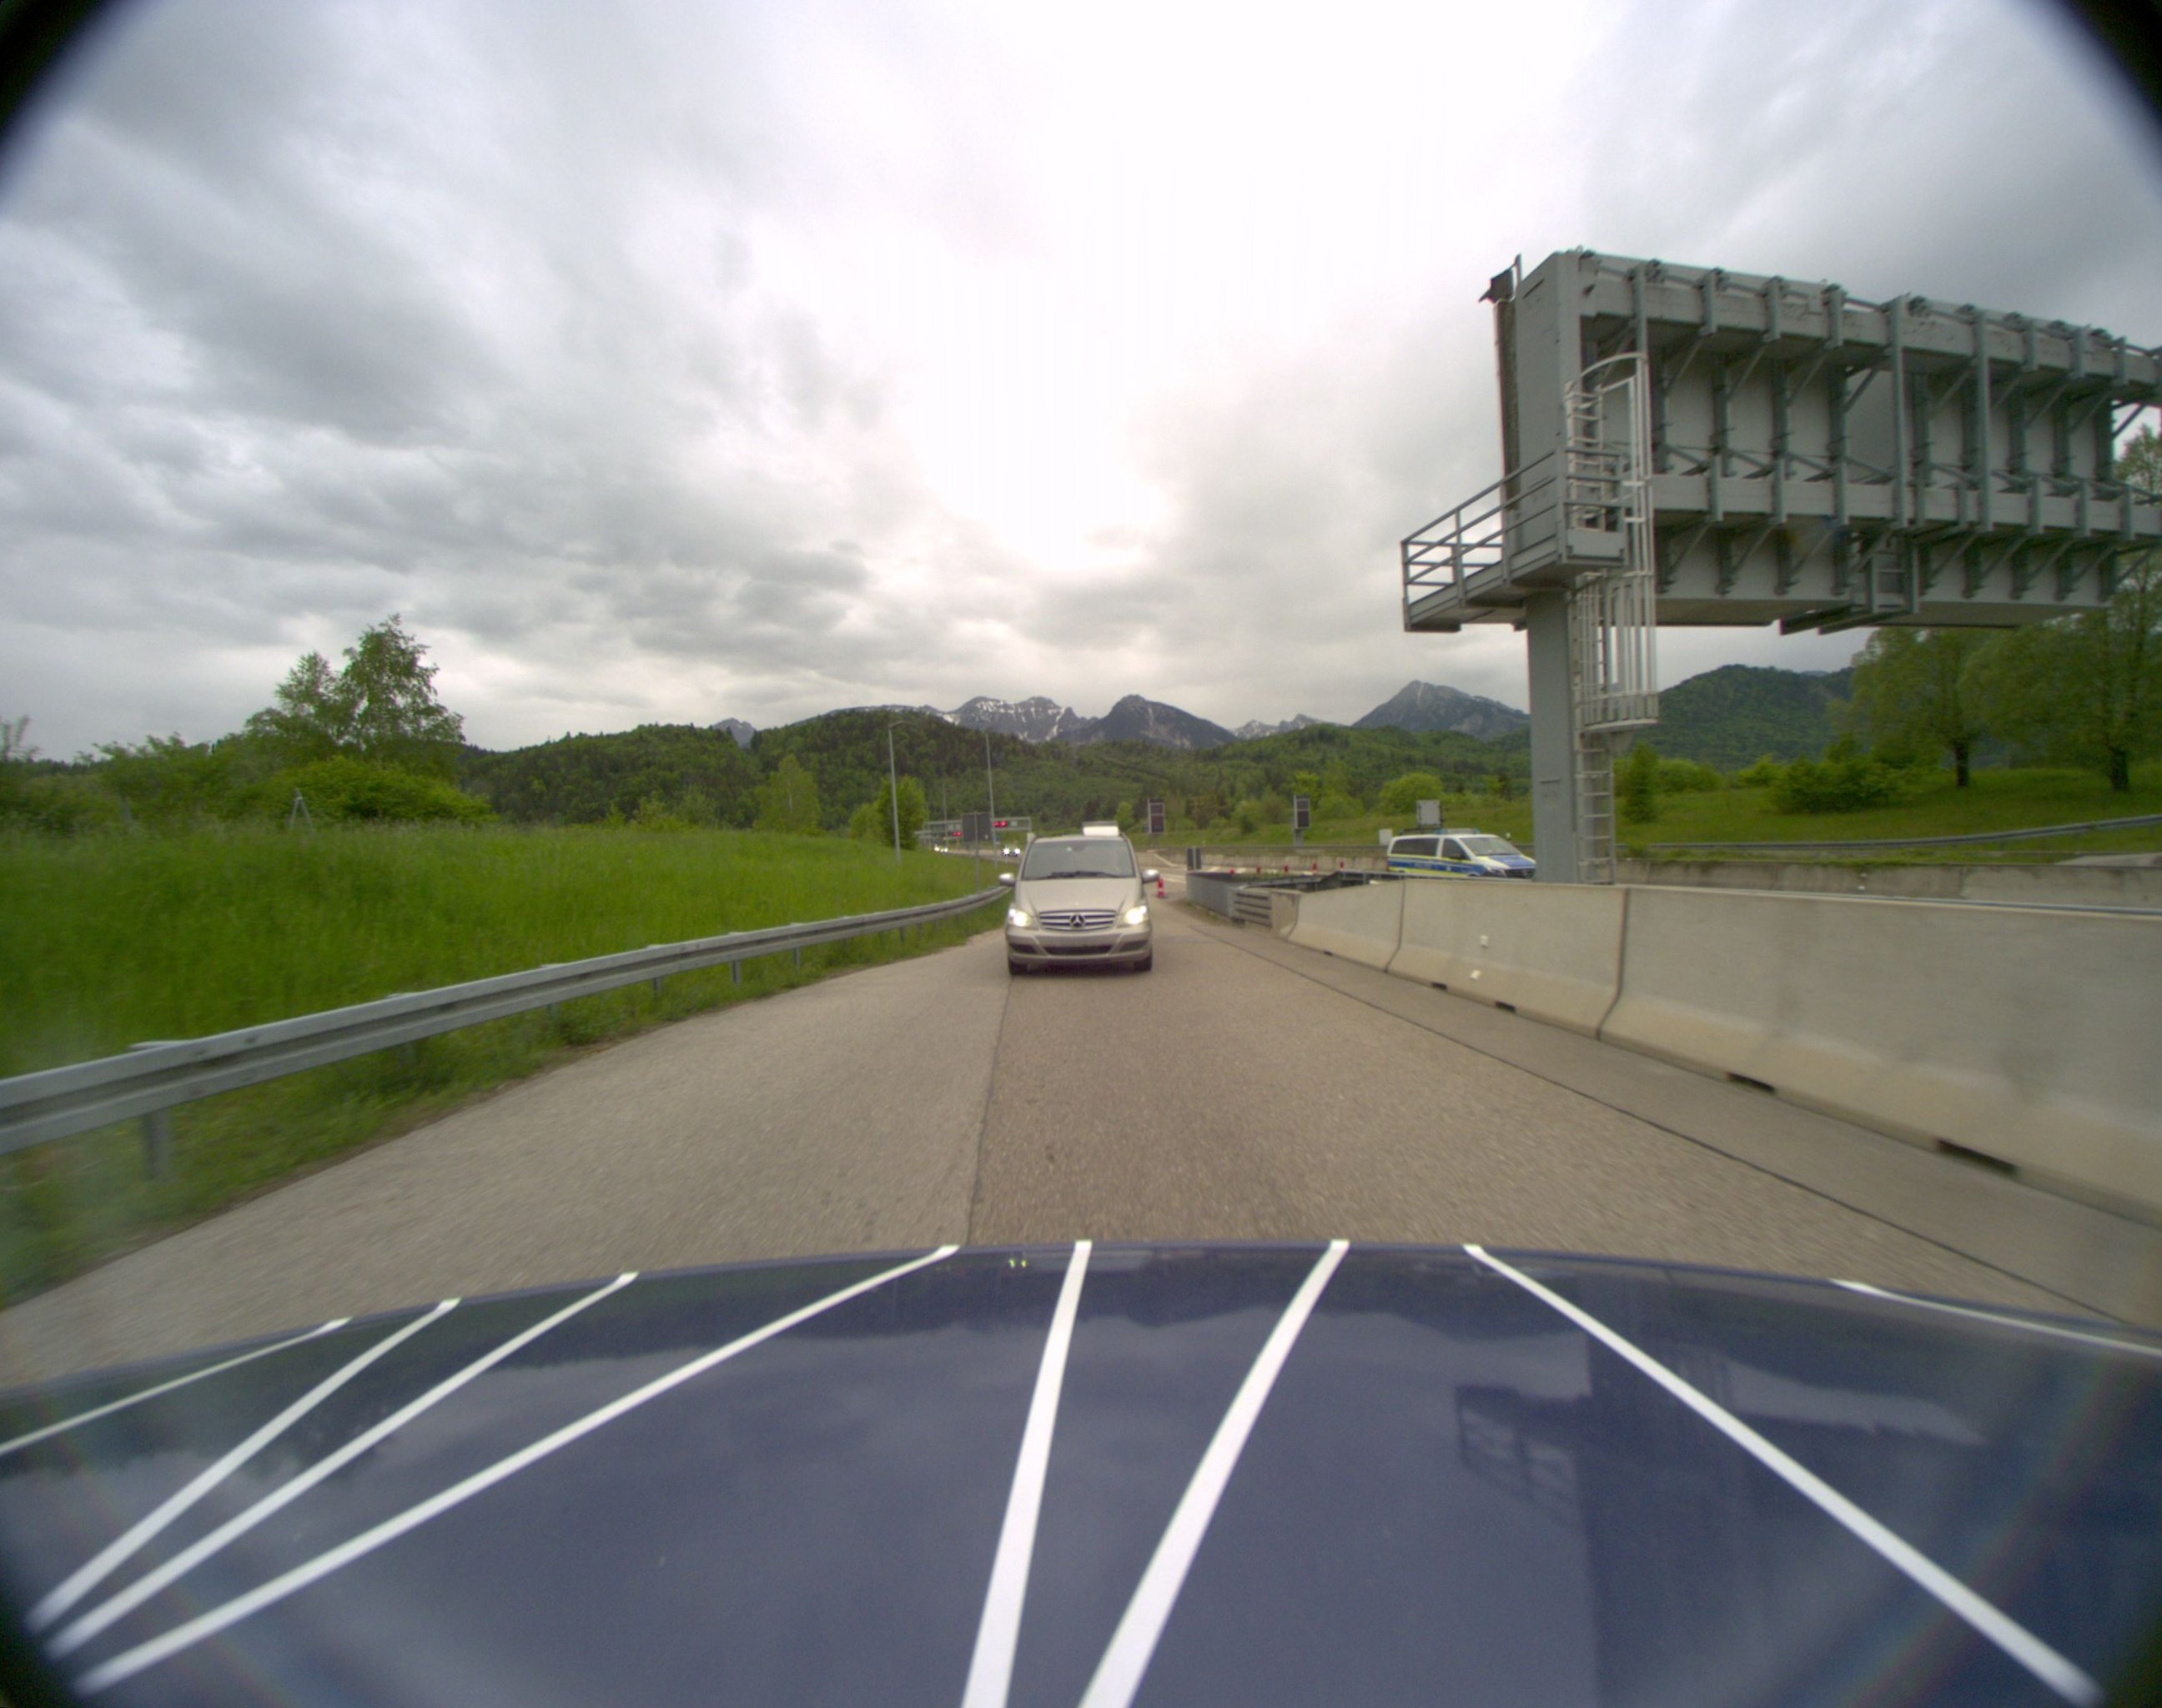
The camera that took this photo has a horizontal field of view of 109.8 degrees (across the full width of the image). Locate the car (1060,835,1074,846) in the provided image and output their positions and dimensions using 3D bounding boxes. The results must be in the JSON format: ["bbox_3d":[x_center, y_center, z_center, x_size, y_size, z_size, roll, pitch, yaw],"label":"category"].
[{"bbox_3d":[-2.639,-2.445,142.136,1.740,1.935,4.168,-2,1,-15],"label":"car"}]

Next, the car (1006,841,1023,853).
[{"bbox_3d":[-9.728,-1.062,110.583,1.722,1.629,4.342,-1,1,-14],"label":"car"}]

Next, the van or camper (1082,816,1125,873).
[{"bbox_3d":[1.448,-0.633,49.745,2.582,3.372,7.355,-1,1,1],"label":"van or camper"}]

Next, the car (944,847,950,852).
[{"bbox_3d":[-45.098,-1.499,256.427,1.738,1.647,3.995,-2,1,-12],"label":"car"}]

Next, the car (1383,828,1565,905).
[{"bbox_3d":[11.520,0.296,22.792,2.106,2.002,5.046,-1,1,-12],"label":"car"}]

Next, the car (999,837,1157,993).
[{"bbox_3d":[0.014,0.692,11.876,1.862,1.833,5.616,-1,1,1],"label":"car"}]

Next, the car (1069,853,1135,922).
[{"bbox_3d":[0.575,0.828,20.618,1.591,1.662,4.000,-1,0,2],"label":"car"}]
